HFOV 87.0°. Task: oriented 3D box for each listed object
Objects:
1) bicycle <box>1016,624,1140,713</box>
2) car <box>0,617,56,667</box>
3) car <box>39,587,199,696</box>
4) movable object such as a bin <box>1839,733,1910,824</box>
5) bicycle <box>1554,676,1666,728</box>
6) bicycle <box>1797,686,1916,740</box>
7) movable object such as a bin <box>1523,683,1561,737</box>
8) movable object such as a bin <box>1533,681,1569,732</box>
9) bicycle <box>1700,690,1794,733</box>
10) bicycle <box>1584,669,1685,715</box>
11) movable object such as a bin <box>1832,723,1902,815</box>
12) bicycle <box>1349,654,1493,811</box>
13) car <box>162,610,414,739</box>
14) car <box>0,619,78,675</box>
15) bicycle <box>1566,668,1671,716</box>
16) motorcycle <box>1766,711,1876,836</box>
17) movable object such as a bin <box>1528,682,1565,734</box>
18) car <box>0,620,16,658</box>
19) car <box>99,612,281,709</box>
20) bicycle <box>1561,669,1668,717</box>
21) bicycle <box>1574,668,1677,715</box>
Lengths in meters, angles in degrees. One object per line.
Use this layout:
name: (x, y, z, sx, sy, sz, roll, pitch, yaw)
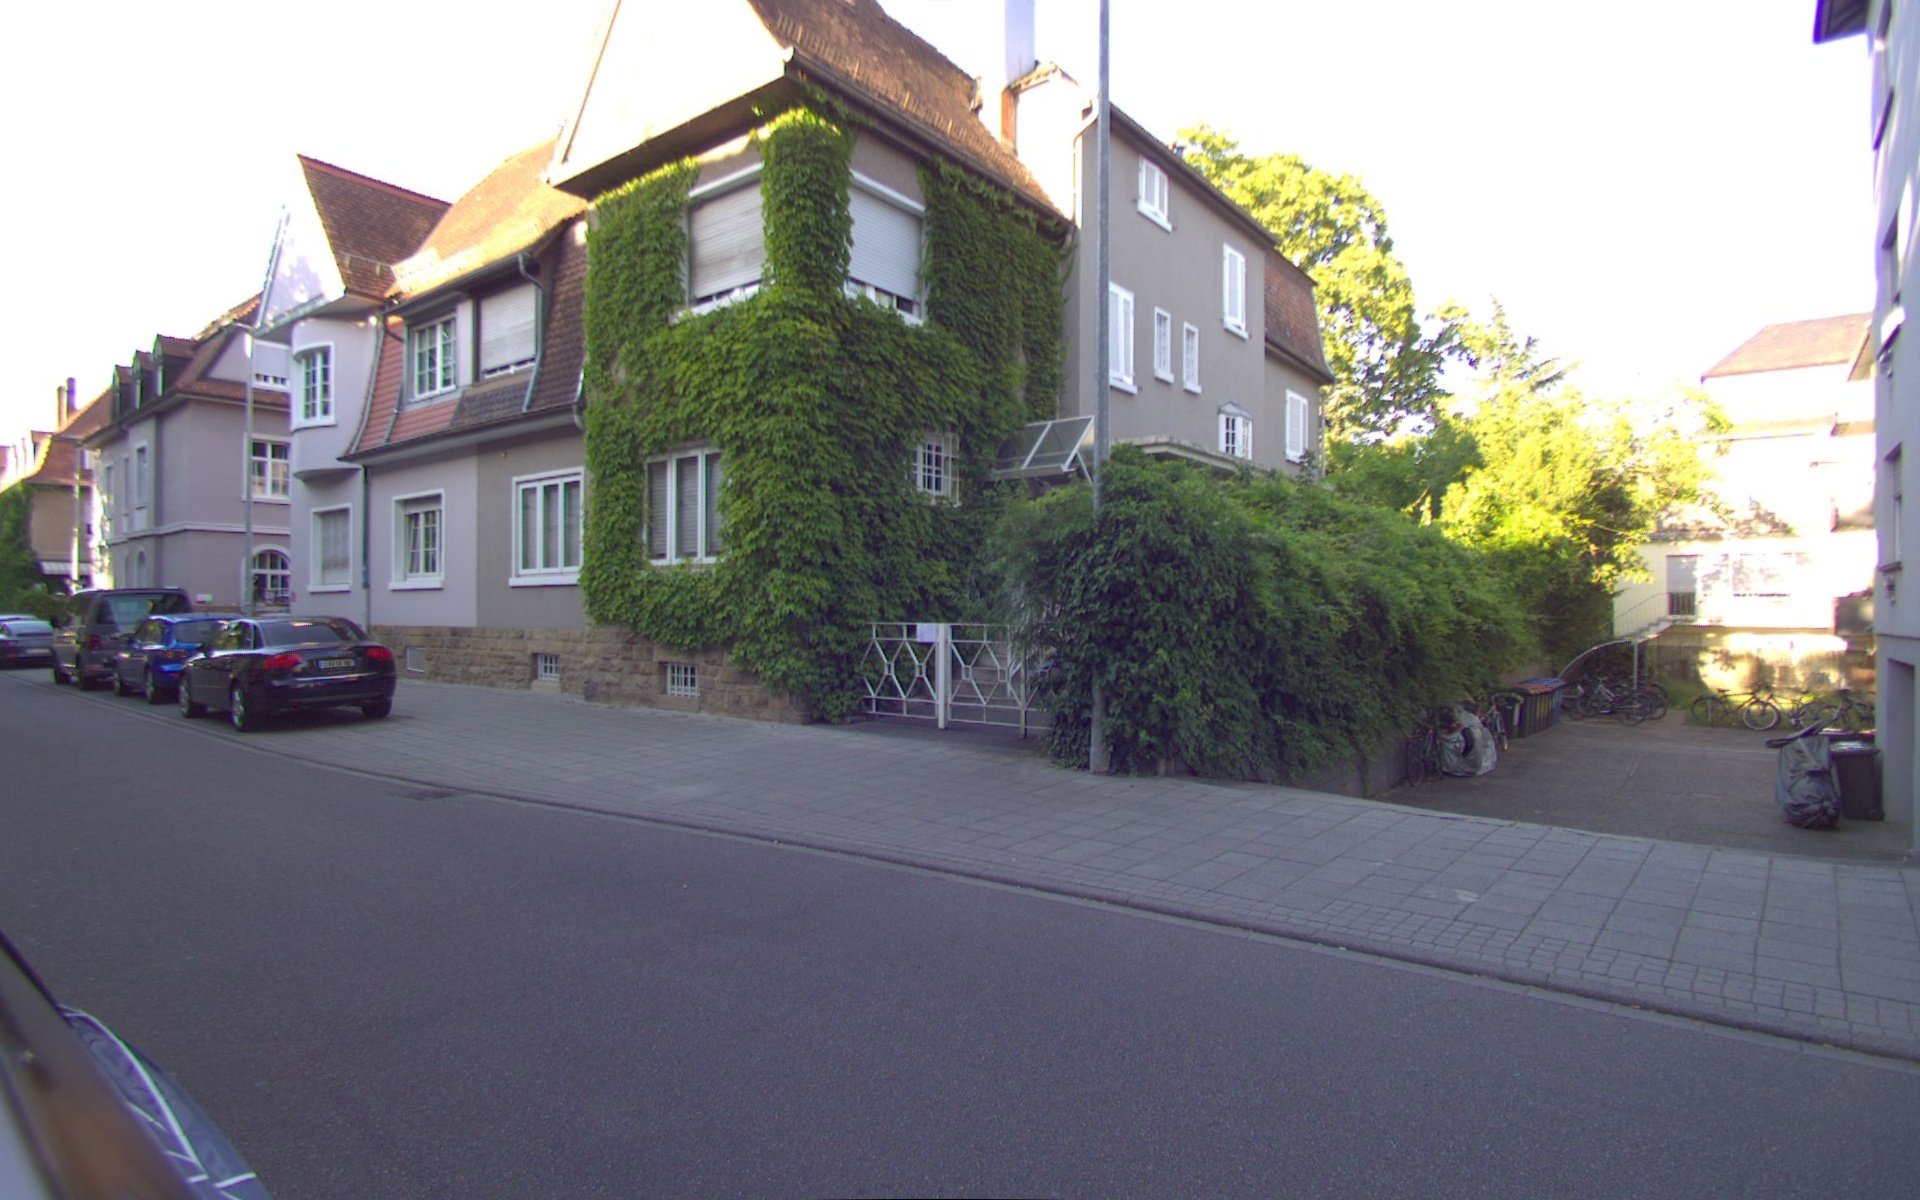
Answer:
bicycle: (1.695, 0.917, 14.193, 0.476, 1.111, 2.172, -1, -1, 45)
car: (-30.180, 1.299, 32.036, 4.061, 1.478, 1.907, -1, 1, 42)
car: (-17.532, 0.789, 21.021, 4.610, 1.990, 1.819, -1, 1, 41)
movable object such as a bin: (11.710, 2.269, 12.973, 0.611, 1.045, 0.532, -1, -4, 37)
bicycle: (16.233, 2.520, 25.310, 2.294, 1.142, 0.685, -1, -4, 42)
bicycle: (20.364, 2.537, 23.034, 2.005, 1.080, 0.558, -1, -4, 42)
movable object such as a bin: (12.695, 2.378, 22.081, 0.611, 1.123, 0.792, -1, -4, 37)
movable object such as a bin: (13.642, 2.446, 23.355, 0.611, 1.123, 0.792, -1, -4, 37)
bicycle: (18.887, 2.663, 24.308, 1.754, 0.886, 0.558, -1, -4, 42)
bicycle: (19.193, 2.598, 28.837, 2.338, 1.186, 0.685, -1, -4, 42)
movable object such as a bin: (12.292, 2.274, 13.735, 0.611, 1.123, 0.792, -1, -4, 37)
bicycle: (6.818, 1.783, 14.760, 0.971, 1.907, 4.138, -1, -3, 38)
car: (-9.424, 0.912, 14.046, 4.426, 1.457, 1.783, -1, 1, 41)
car: (-26.166, 1.269, 28.303, 4.063, 1.394, 1.906, -1, 1, 44)
bicycle: (18.051, 2.501, 27.775, 2.338, 1.186, 0.685, -1, -4, 42)
motorcycle: (10.701, 2.114, 12.632, 0.742, 1.305, 1.565, -1, -2, 30)
movable object such as a bin: (13.171, 2.413, 22.724, 0.611, 1.123, 0.792, -1, -4, 37)
car: (-36.332, 1.444, 37.513, 3.676, 1.372, 1.641, -1, 1, 42)
car: (-13.643, 0.983, 17.851, 4.060, 1.457, 1.745, -1, 1, 41)
bicycle: (17.500, 2.475, 27.123, 2.338, 1.142, 0.685, -1, -4, 42)
bicycle: (18.609, 2.550, 28.343, 2.338, 1.186, 0.685, -1, -4, 42)
